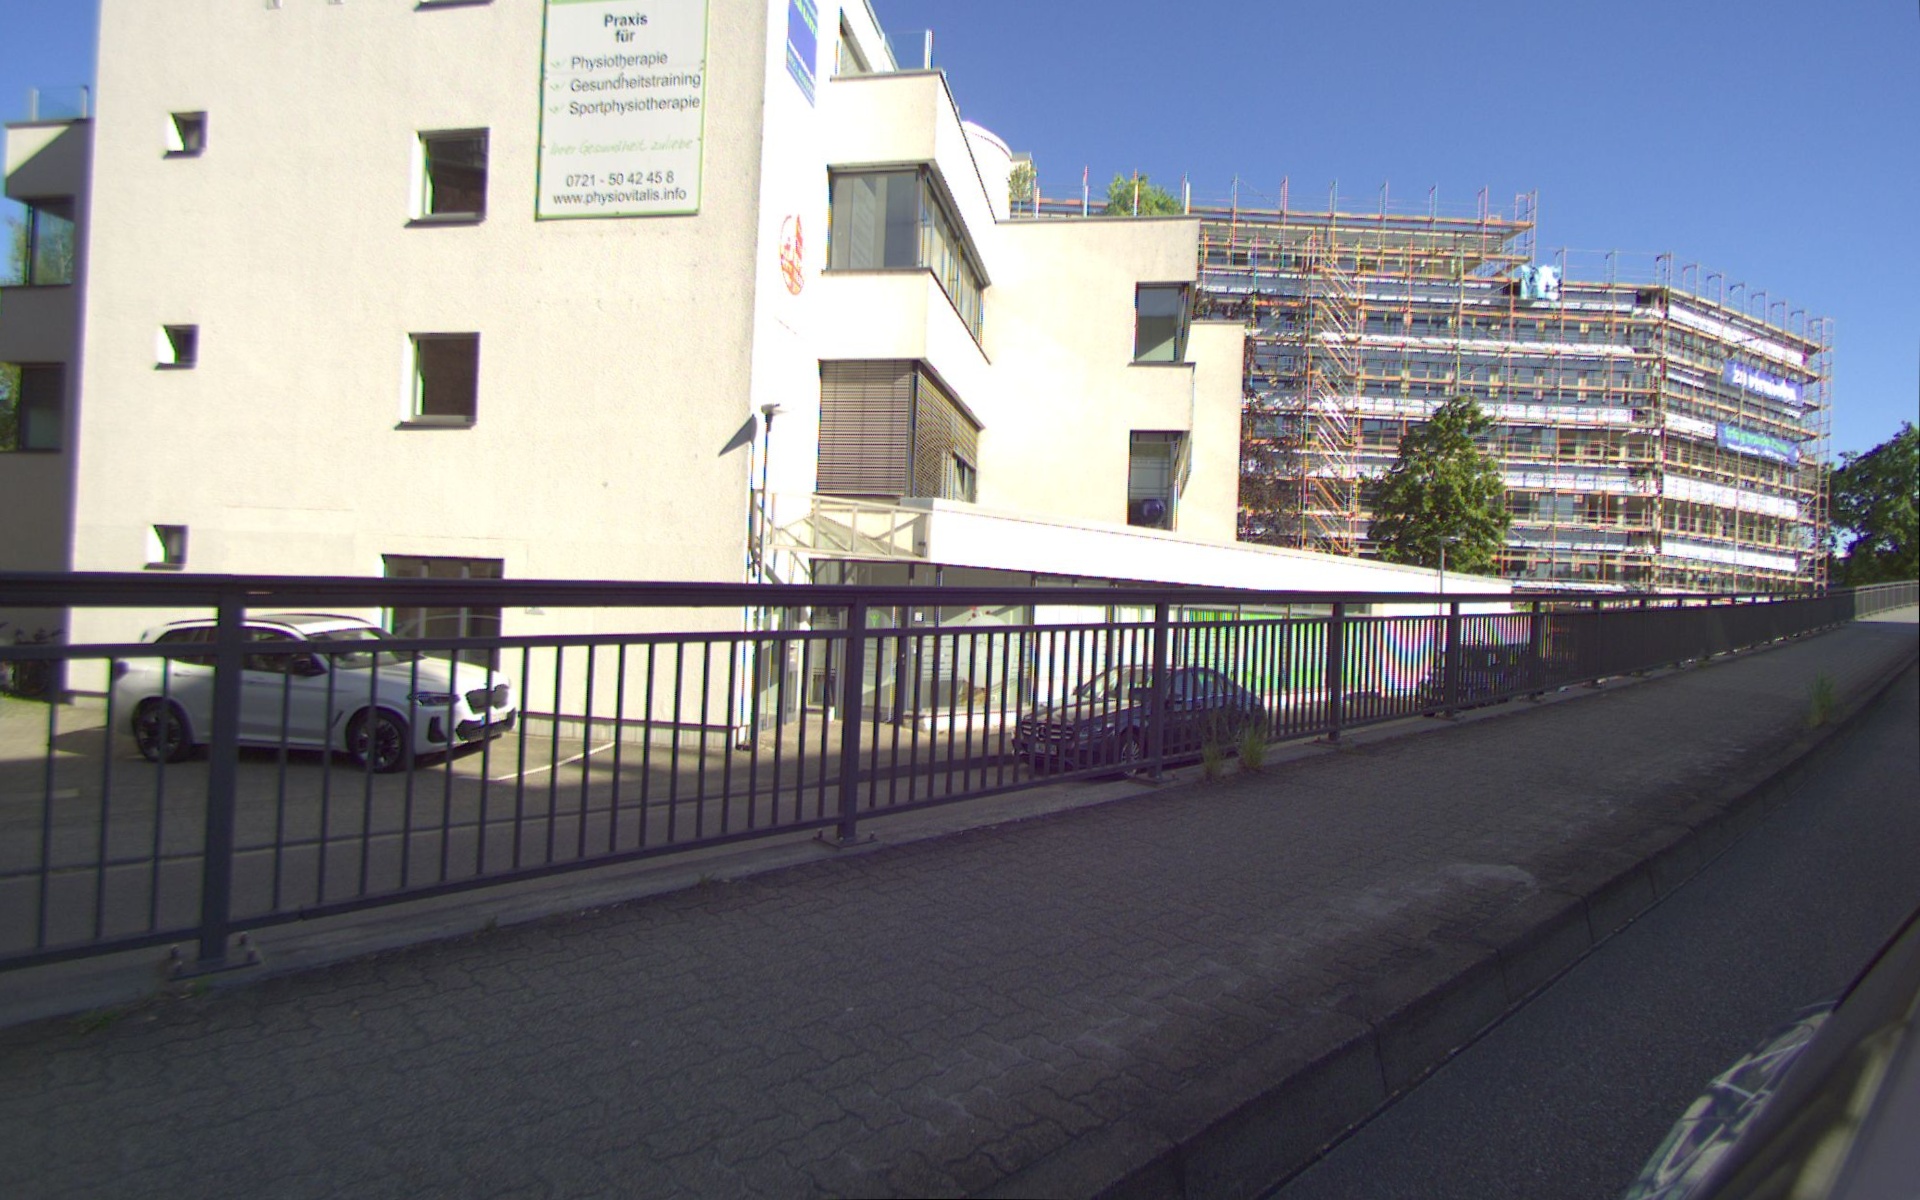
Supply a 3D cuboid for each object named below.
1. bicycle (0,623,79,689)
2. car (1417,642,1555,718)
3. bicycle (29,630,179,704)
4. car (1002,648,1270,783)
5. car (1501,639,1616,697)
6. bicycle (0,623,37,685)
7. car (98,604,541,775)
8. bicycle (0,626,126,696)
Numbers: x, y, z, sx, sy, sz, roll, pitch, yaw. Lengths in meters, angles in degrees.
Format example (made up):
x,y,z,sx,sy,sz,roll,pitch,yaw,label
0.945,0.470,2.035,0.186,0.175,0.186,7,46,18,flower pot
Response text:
x,y,z,sx,sy,sz,roll,pitch,yaw,label
-16.666,0.975,17.668,0.655,1.065,1.916,2,1,11,bicycle
12.556,1.830,24.059,3.932,1.541,1.723,1,-1,-43,car
-14.264,1.085,16.944,0.655,1.065,1.916,2,1,11,bicycle
2.616,1.526,14.520,3.930,1.541,1.724,1,-1,-42,car
16.633,1.832,28.038,3.932,1.410,1.723,1,-1,-43,car
-17.545,0.983,17.788,0.655,1.065,1.916,2,1,11,bicycle
-7.736,0.996,12.434,4.454,1.707,1.841,2,0,8,car
-15.746,1.025,17.595,0.655,1.065,1.916,2,1,11,bicycle
